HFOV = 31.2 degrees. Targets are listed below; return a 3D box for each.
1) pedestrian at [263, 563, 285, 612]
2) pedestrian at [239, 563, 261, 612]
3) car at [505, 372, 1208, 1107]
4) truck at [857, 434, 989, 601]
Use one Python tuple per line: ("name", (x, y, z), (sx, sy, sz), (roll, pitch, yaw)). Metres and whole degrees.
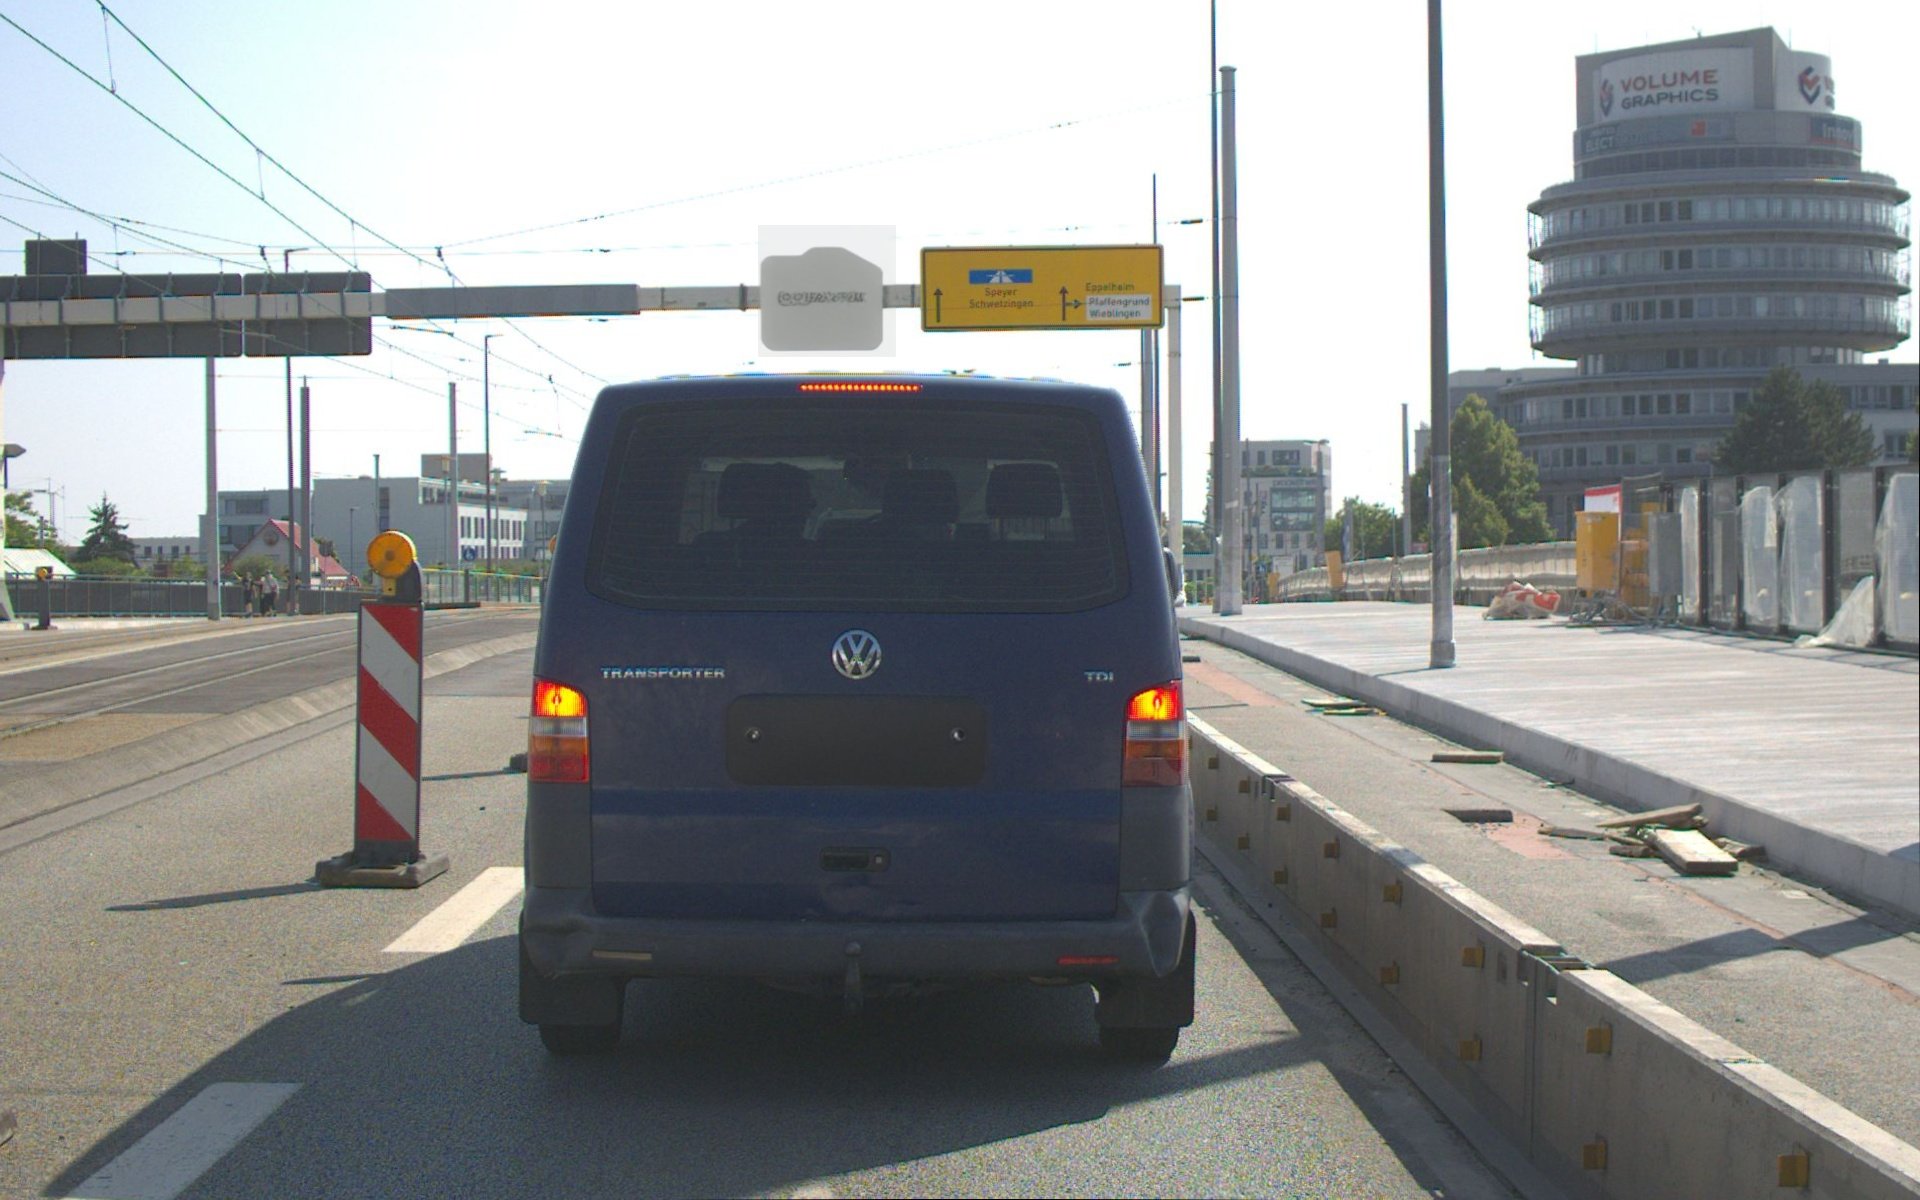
("pedestrian", (-24.803, -0.458, 124.364), (0.634, 1.768, 0.752), (0, 1, -1))
("pedestrian", (-25.608, -0.470, 124.028), (0.634, 1.746, 0.752), (0, 1, -1))
("car", (-0.294, 0.327, 10.947), (1.815, 1.899, 4.055), (0, 1, -1))
("truck", (-0.750, -1.749, 70.601), (2.460, 3.124, 11.217), (-1, 2, -1))
